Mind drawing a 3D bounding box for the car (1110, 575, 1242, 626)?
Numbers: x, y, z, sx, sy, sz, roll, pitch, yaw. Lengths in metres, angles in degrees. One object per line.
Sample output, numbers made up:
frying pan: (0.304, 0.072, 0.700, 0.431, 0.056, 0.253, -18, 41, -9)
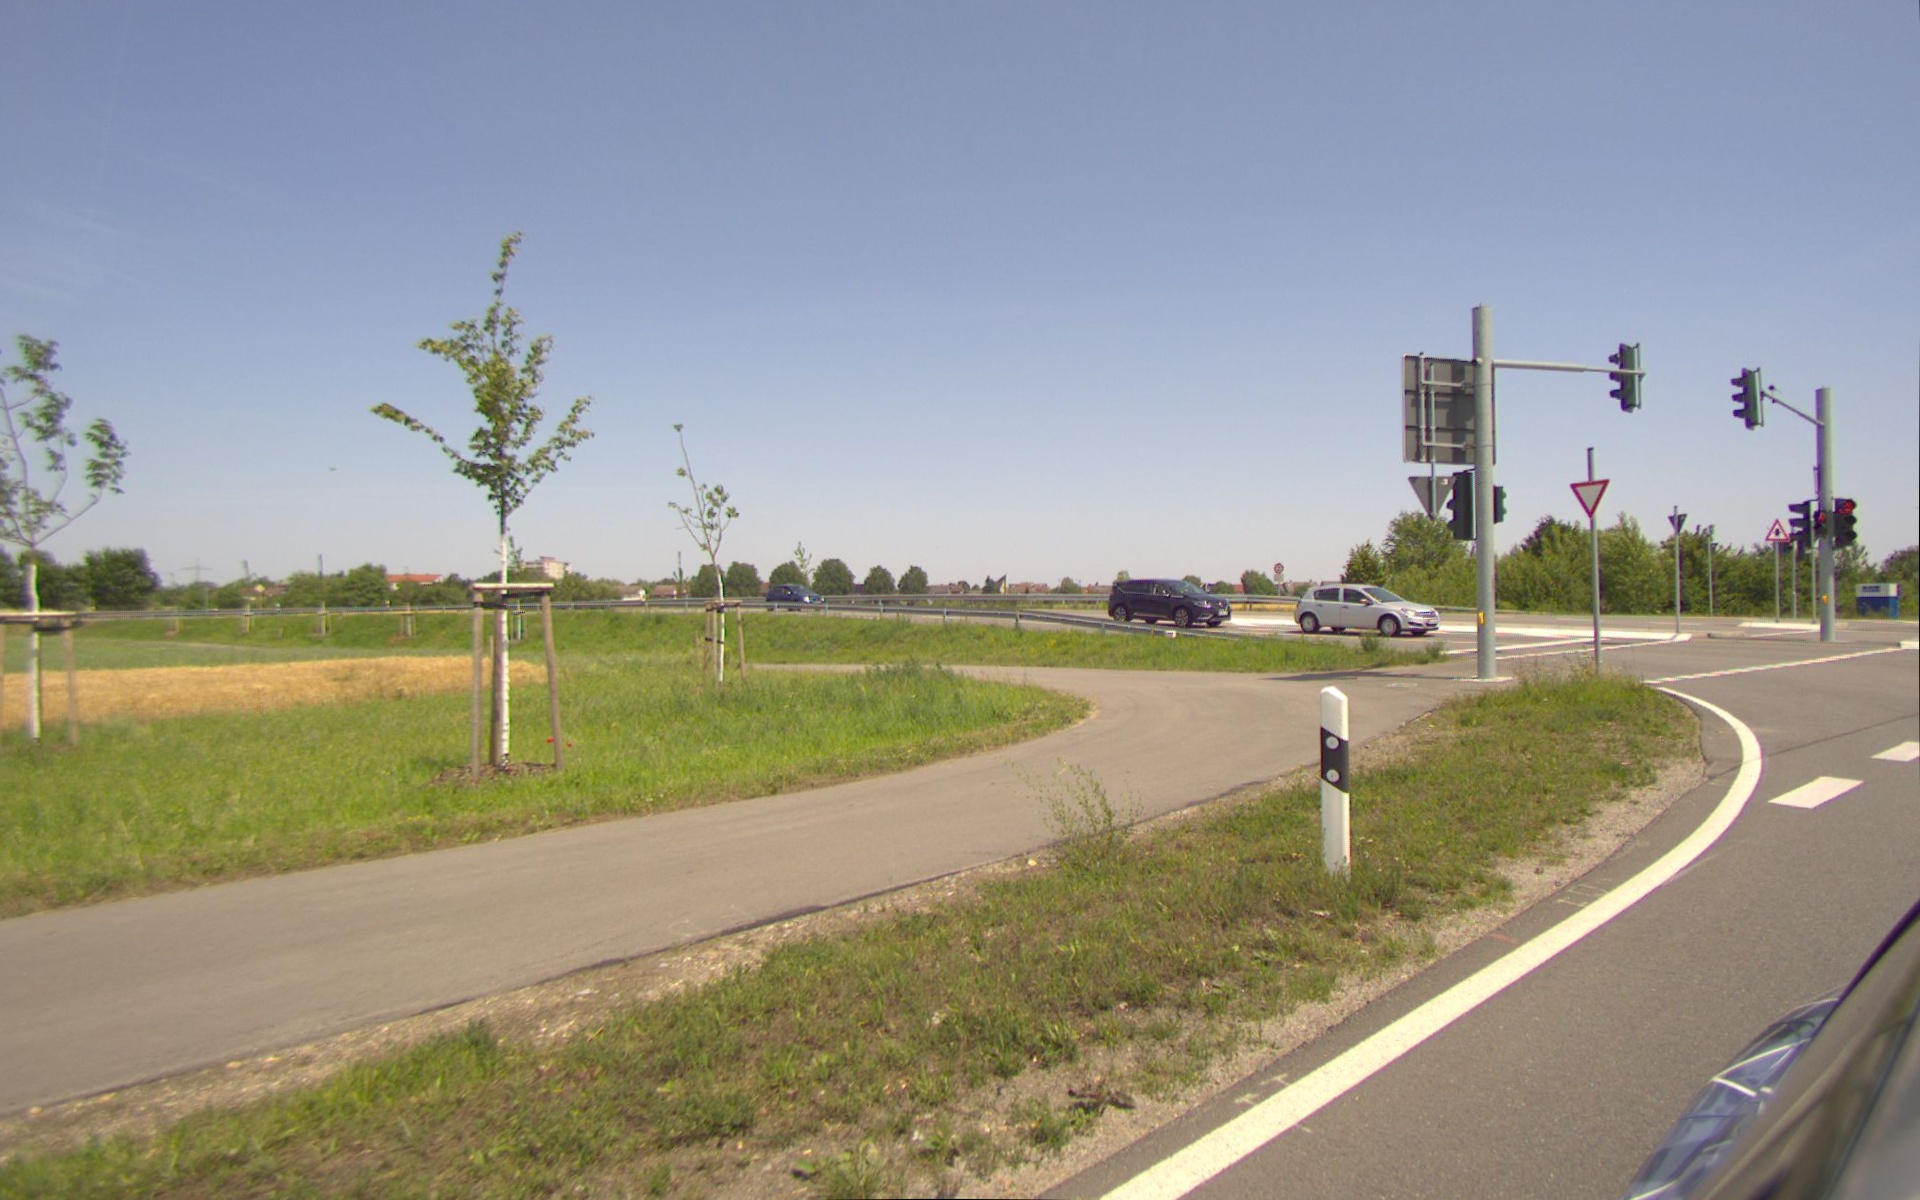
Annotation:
car: (7.500, -0.043, 35.487, 1.780, 1.661, 4.527, -2, 2, -35)

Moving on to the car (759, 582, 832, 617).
car: (-9.049, -0.020, 55.524, 3.902, 1.831, 1.892, -1, 0, 41)

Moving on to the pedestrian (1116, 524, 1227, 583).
pedestrian: (7.781, -1.660, 37.114, 3.930, 2.038, 1.997, -1, 2, -41)

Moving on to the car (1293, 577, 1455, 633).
car: (11.903, 0.115, 29.336, 1.630, 1.478, 4.151, -1, 1, -35)
